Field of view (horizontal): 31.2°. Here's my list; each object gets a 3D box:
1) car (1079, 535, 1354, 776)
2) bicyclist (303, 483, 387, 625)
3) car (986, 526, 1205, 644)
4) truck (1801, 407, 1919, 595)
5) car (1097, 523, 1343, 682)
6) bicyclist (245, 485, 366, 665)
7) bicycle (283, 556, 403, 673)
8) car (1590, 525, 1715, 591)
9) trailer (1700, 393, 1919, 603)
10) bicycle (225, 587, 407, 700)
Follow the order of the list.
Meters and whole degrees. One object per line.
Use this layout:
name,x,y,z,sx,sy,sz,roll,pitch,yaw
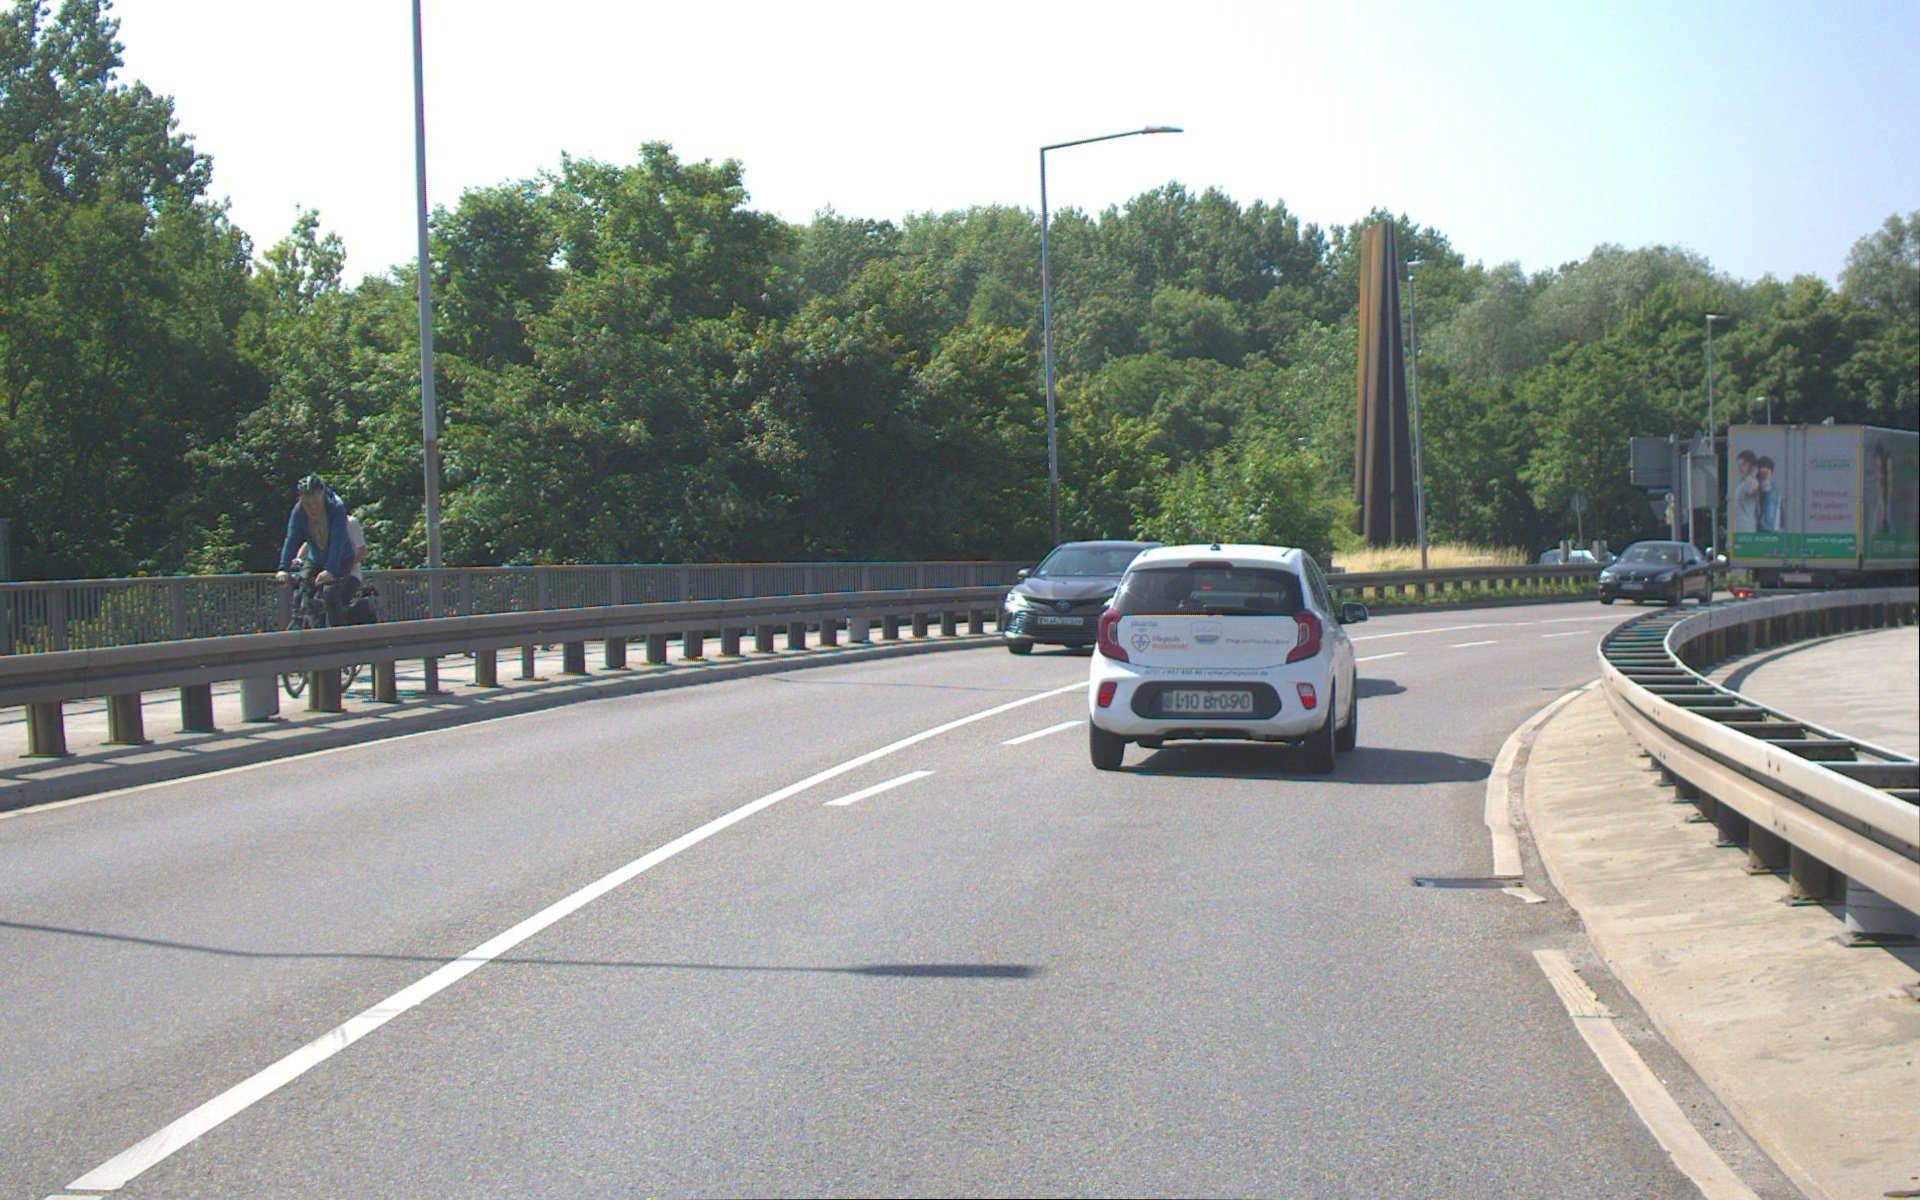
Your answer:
car,1.868,0.318,24.007,1.702,1.489,3.999,2,1,7
bicyclist,-5.840,-0.435,32.660,0.488,1.324,0.946,1,0,9
car,1.832,-0.233,44.729,1.819,1.425,4.861,0,1,15
truck,20.761,-2.090,73.768,3.265,3.745,8.358,3,2,27
car,2.746,-0.026,35.261,1.940,1.481,4.898,1,1,11
bicyclist,-5.597,-0.227,29.443,0.660,1.491,1.016,1,3,13
bicycle,-5.847,0.121,32.668,0.574,1.043,1.709,1,2,10
car,16.073,-0.989,79.622,1.858,1.437,4.510,1,2,24
trailer,17.063,-1.956,66.646,3.229,3.745,7.813,3,2,27
bicycle,-5.562,0.362,29.823,0.929,0.888,1.967,1,2,10
